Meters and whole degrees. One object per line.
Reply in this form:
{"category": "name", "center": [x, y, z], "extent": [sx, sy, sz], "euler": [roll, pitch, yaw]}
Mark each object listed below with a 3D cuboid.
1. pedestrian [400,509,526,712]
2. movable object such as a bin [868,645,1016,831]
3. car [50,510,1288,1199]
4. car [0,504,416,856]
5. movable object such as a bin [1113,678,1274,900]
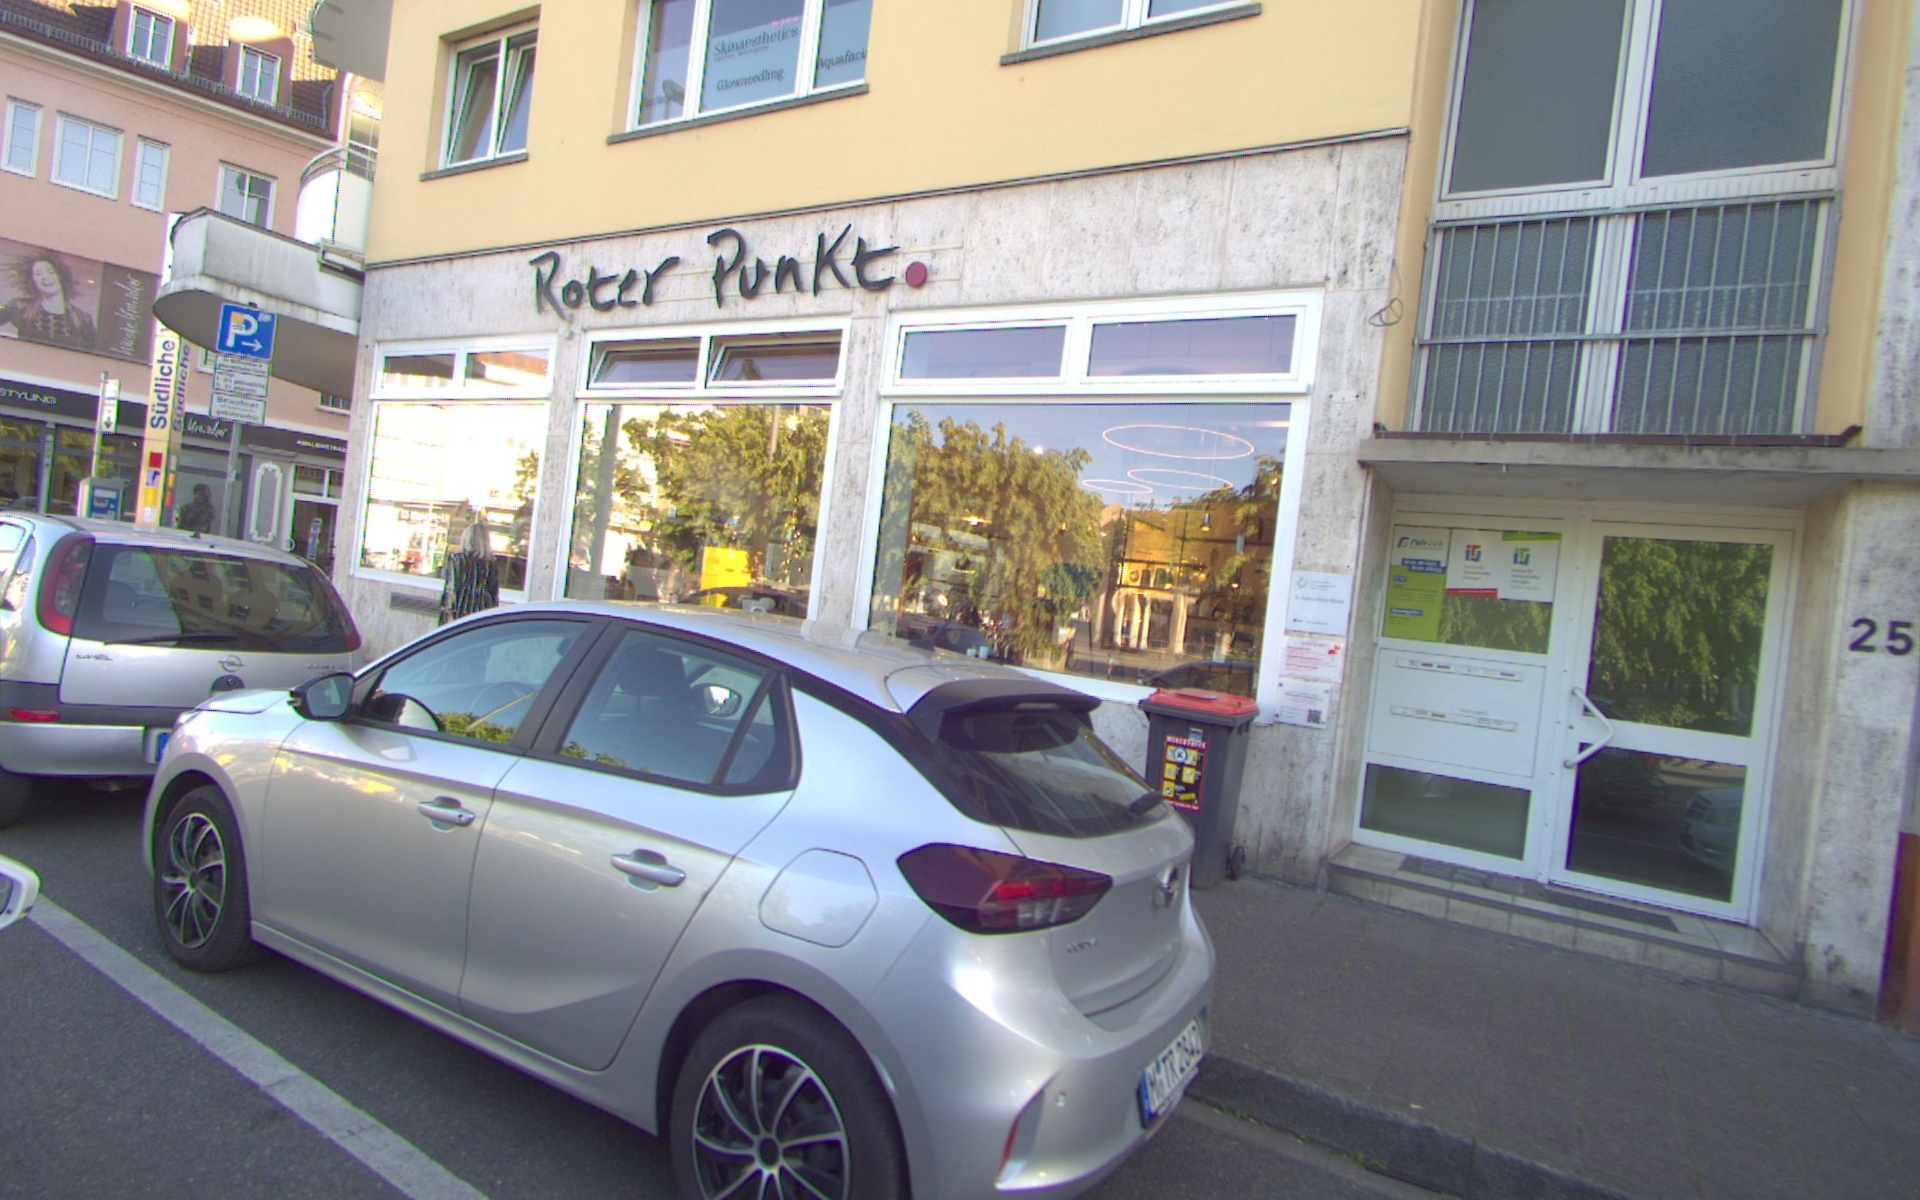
{"category": "pedestrian", "center": [-4.287, 0.087, 8.683], "extent": [0.618, 1.654, 0.661], "euler": [6, 2, 36]}
{"category": "movable object such as a bin", "center": [-0.112, 0.880, 6.704], "extent": [0.609, 1.082, 0.703], "euler": [7, 3, 31]}
{"category": "car", "center": [-1.151, 0.659, 3.500], "extent": [4.007, 1.444, 1.674], "euler": [7, -1, 29]}
{"category": "car", "center": [-5.045, 0.228, 5.778], "extent": [3.822, 1.411, 1.624], "euler": [7, -1, 33]}
{"category": "movable object such as a bin", "center": [1.353, 1.040, 5.789], "extent": [0.609, 1.082, 0.703], "euler": [7, 3, 31]}
